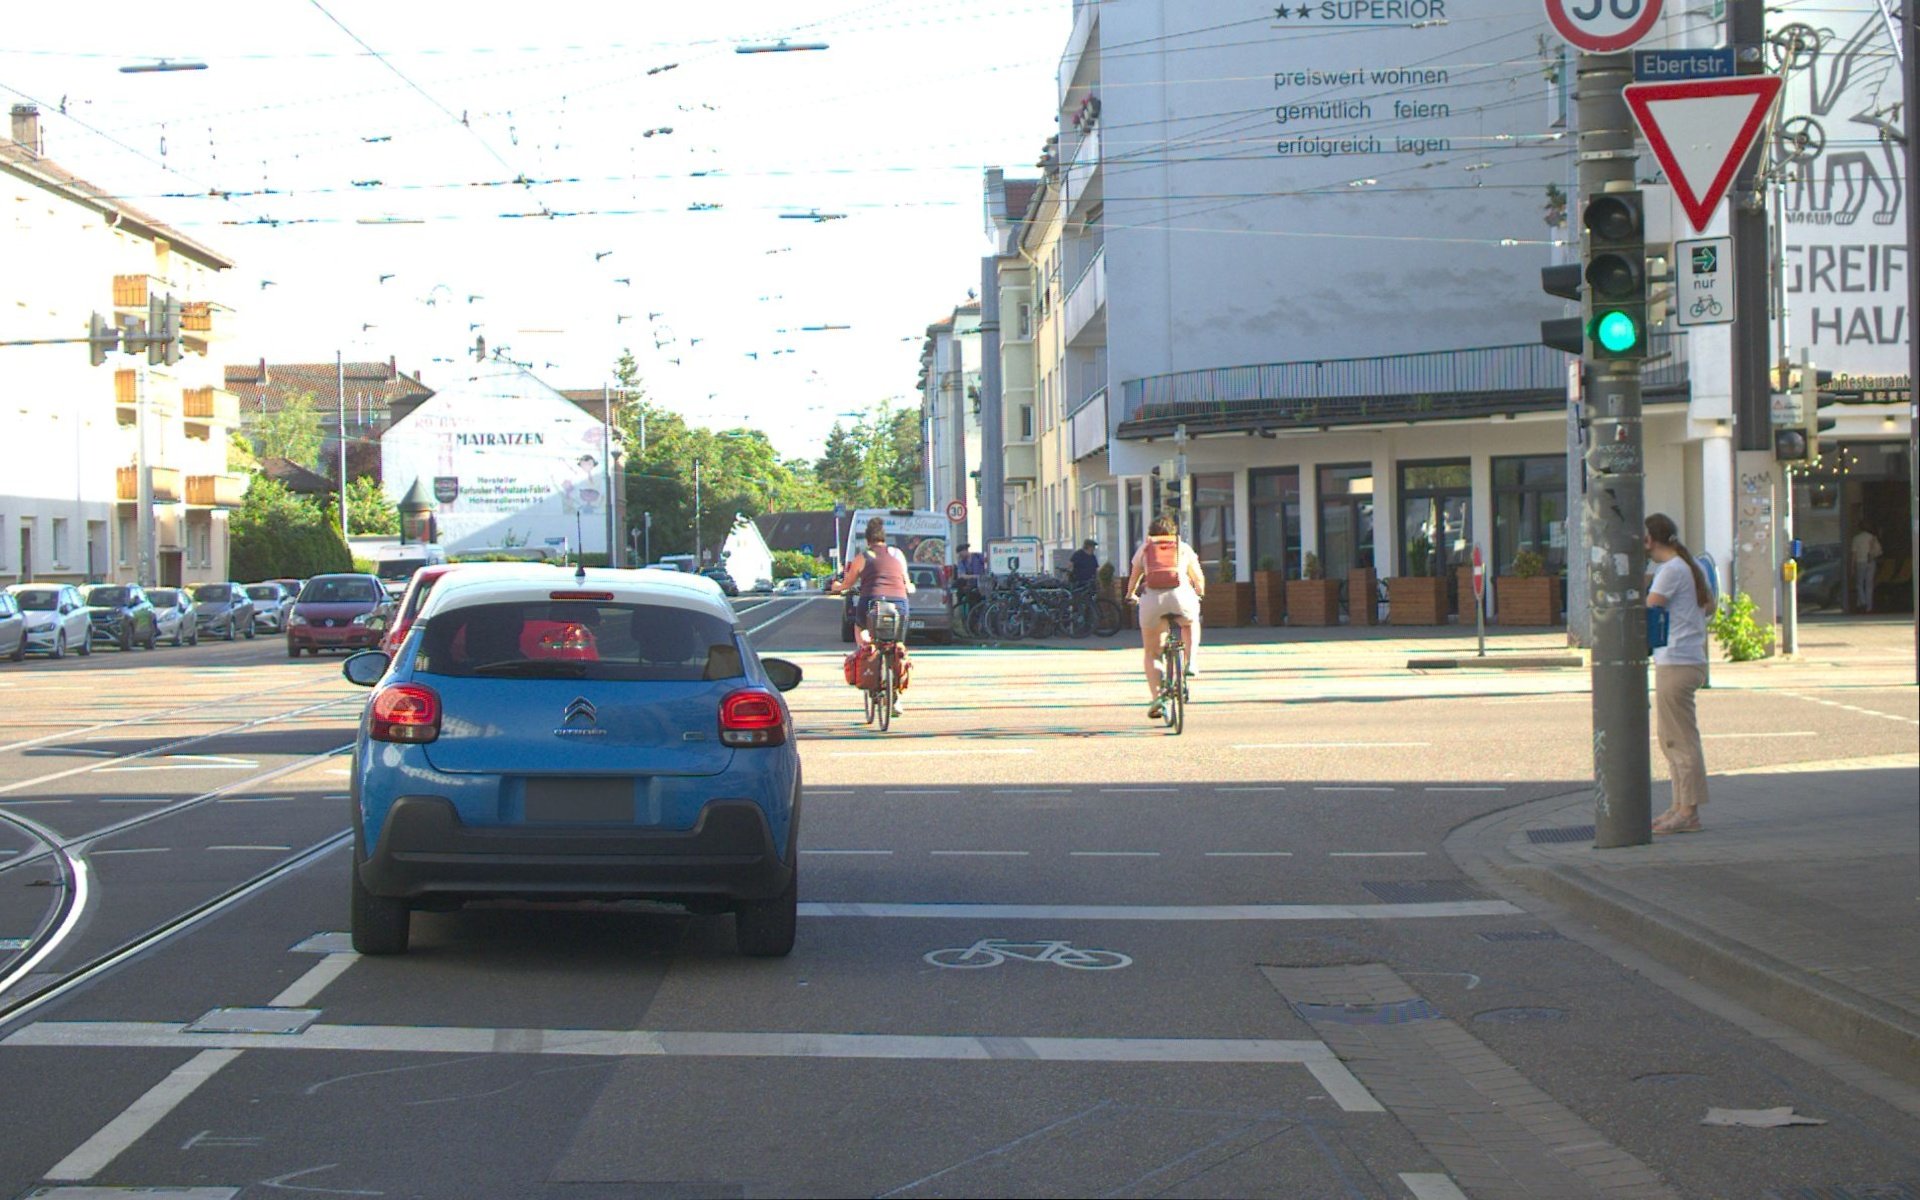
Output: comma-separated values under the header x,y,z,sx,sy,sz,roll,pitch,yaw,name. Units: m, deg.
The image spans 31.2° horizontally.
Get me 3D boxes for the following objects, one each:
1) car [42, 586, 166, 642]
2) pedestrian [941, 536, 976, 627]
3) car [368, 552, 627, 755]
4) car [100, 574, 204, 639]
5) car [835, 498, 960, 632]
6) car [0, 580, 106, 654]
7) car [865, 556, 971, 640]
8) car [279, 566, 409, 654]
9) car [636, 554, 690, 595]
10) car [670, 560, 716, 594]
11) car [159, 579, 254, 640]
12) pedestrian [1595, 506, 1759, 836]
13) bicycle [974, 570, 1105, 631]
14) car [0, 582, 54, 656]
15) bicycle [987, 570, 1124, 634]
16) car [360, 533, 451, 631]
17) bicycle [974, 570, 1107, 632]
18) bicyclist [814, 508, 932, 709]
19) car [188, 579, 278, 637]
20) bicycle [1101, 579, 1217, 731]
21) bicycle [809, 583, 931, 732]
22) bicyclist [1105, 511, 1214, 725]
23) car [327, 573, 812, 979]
x,y,z,sx,sy,sz,roll,pitch,yaw,name
-19.921,0.303,80.180,1.947,1.235,4.283,1,0,-2,car
-0.032,-0.338,63.083,0.613,1.648,0.671,1,0,1,pedestrian
-3.757,0.388,28.456,1.784,1.516,3.763,1,1,-3,car
-20.282,0.156,86.401,1.869,1.571,4.000,1,0,-3,car
-1.251,-0.668,66.286,2.265,2.473,5.008,0,0,-3,car
-19.621,0.345,73.474,1.741,1.521,4.230,1,0,-1,car
-0.779,-0.042,61.313,1.657,1.426,3.889,1,0,-4,car
-11.013,0.160,61.666,1.778,1.481,3.829,-1,0,-3,car
-14.151,-1.204,164.105,2.218,1.925,4.949,1,0,-1,car
-14.115,-1.216,181.876,2.074,1.756,5.037,1,0,-1,car
-20.232,0.247,92.465,1.869,1.571,4.000,1,0,-3,car
3.676,0.355,17.594,0.540,1.618,0.732,-6,-2,24,pedestrian
1.418,0.006,61.656,2.251,0.998,0.856,-2,0,-3,bicycle
-19.573,0.357,68.564,1.903,1.432,4.102,1,0,0,car
1.640,0.032,59.220,2.251,0.998,0.856,-2,0,-2,bicycle
-18.264,-0.585,113.376,2.418,3.131,3.488,1,0,-1,car
1.412,0.013,60.530,2.251,0.998,0.856,-2,0,-3,bicycle
-0.736,0.070,29.359,0.940,1.667,1.079,1,0,1,bicyclist
-20.493,0.221,96.993,1.869,1.571,4.000,1,0,-3,car
1.634,0.430,27.973,0.811,1.177,2.063,1,0,7,bicycle
-0.749,0.468,29.349,0.940,1.219,2.094,1,0,1,bicycle
1.622,0.141,27.865,0.811,1.686,0.935,1,0,7,bicyclist
-1.663,0.617,14.222,1.736,1.447,3.663,0,0,-8,car
